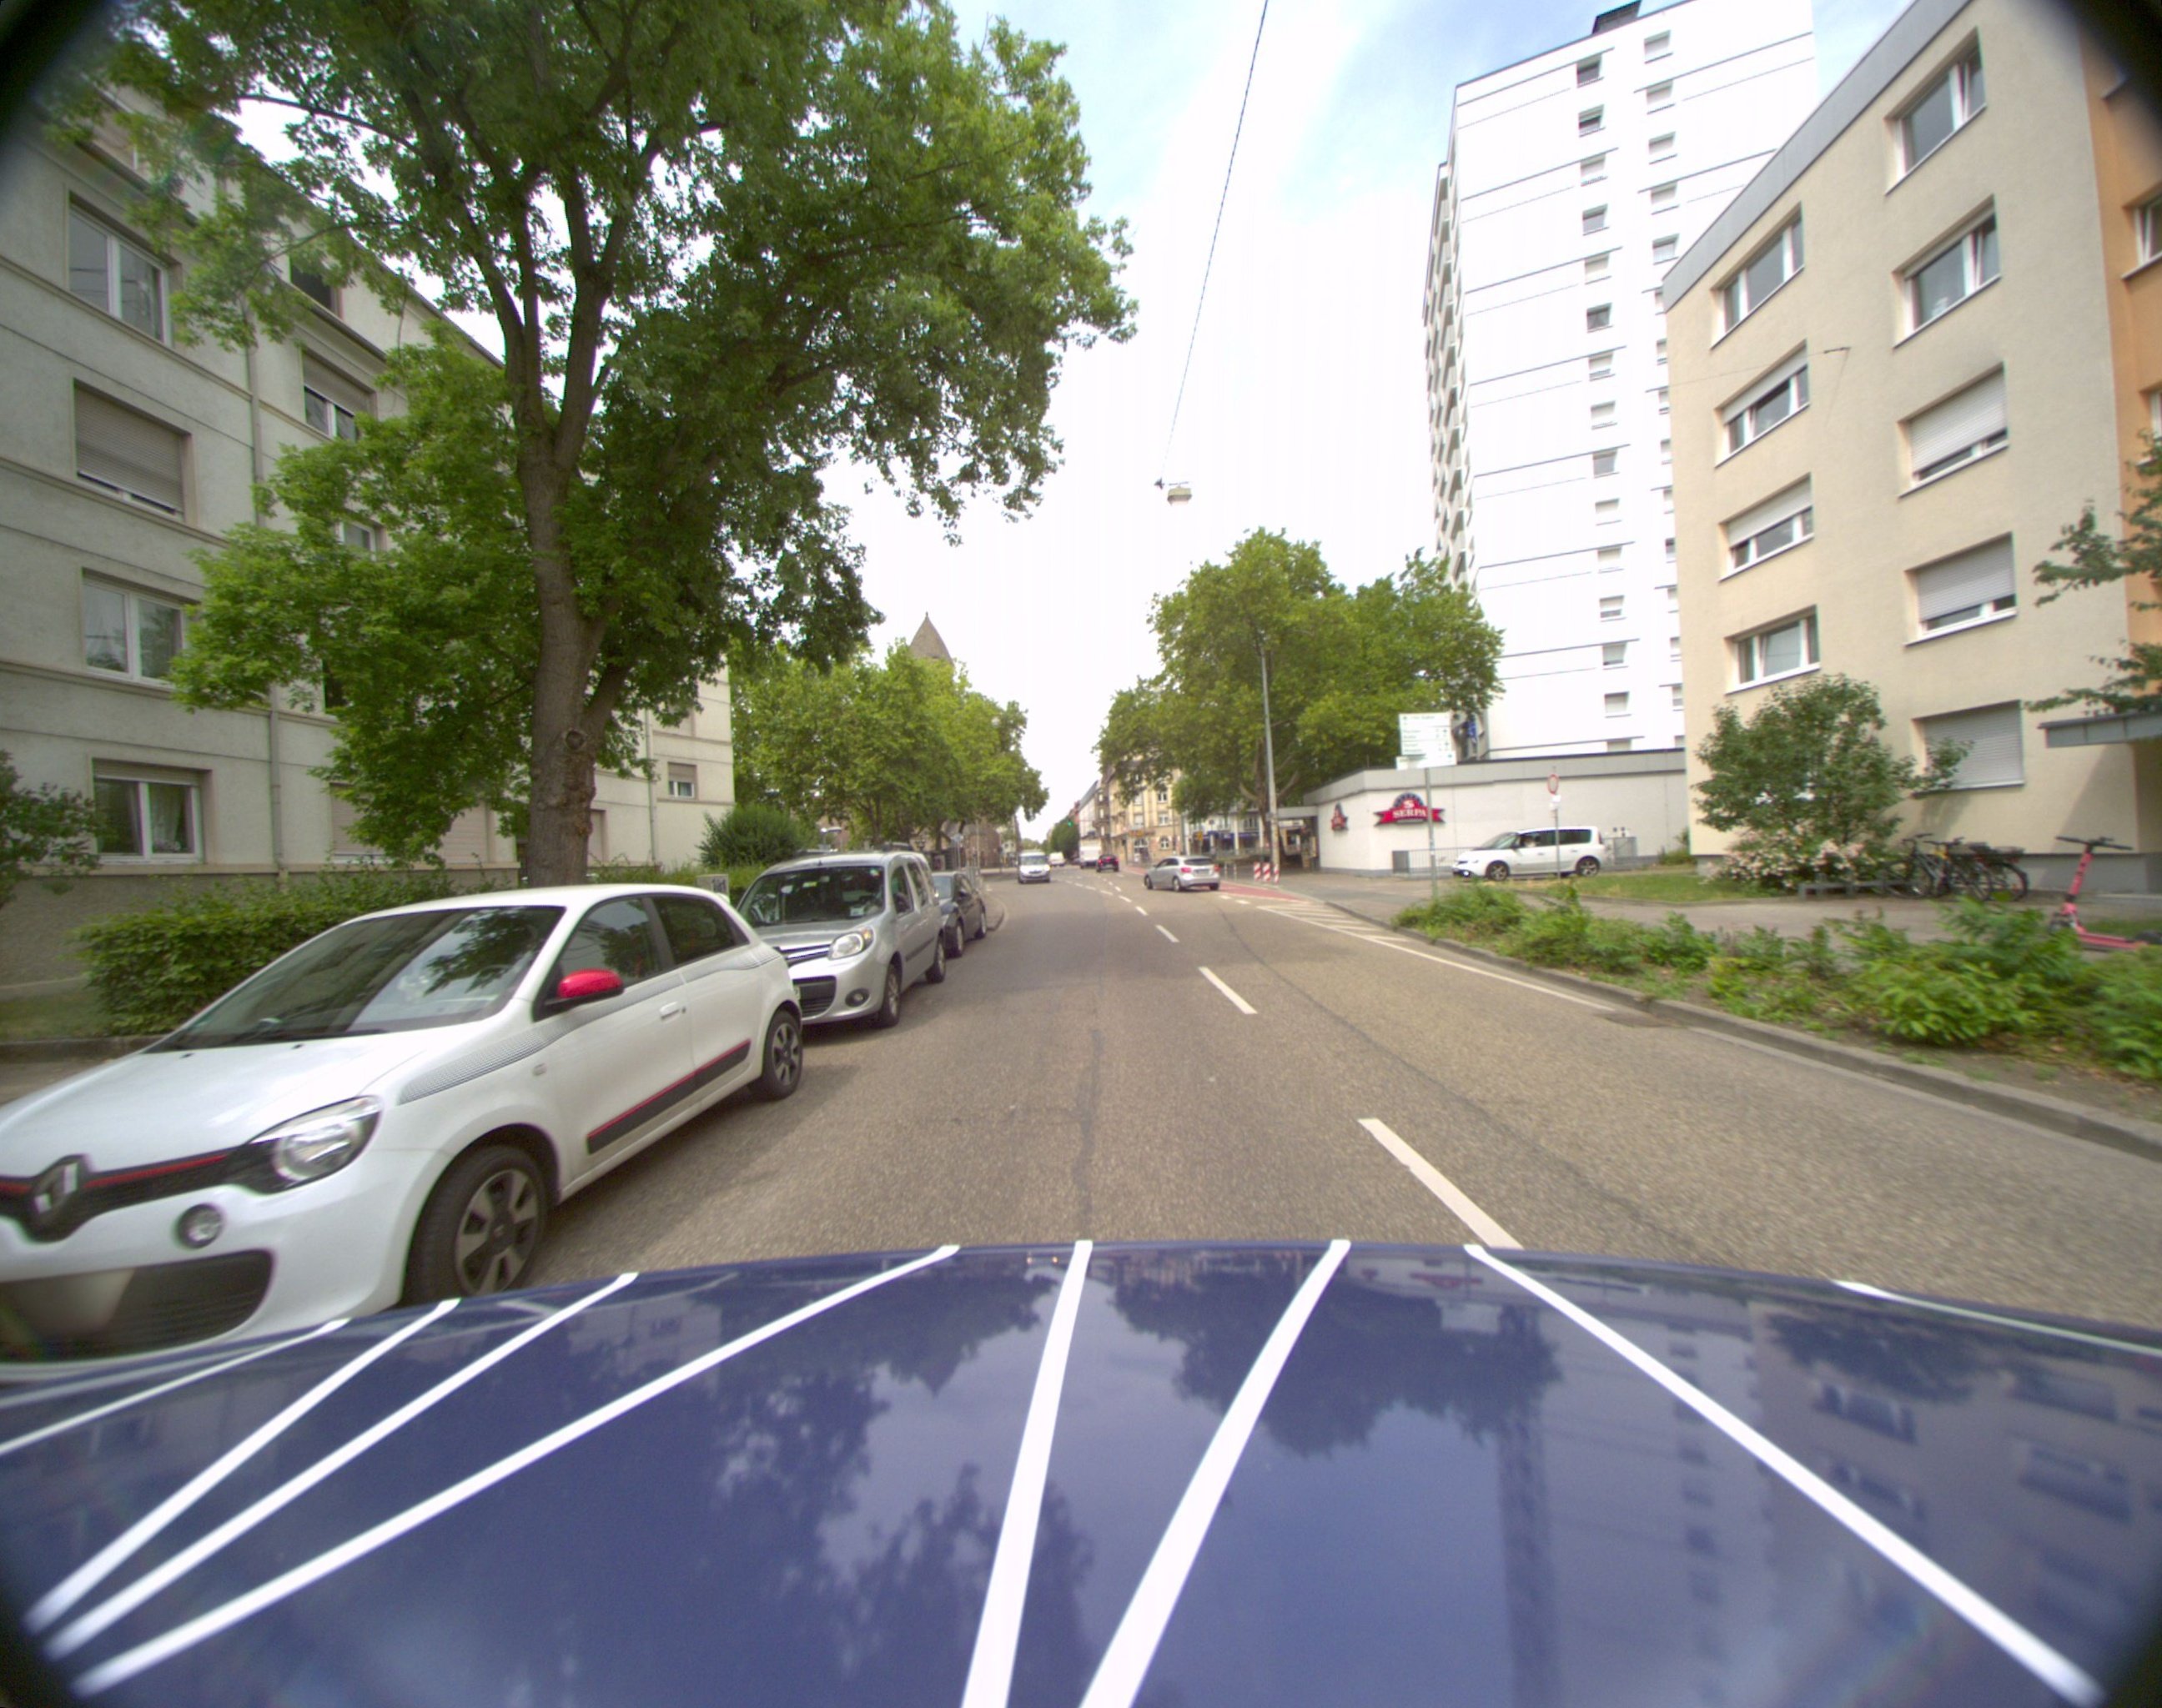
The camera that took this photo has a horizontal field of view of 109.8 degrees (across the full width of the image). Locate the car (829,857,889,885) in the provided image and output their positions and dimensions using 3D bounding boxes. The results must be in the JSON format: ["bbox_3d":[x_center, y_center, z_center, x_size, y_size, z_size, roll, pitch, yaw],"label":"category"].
[{"bbox_3d":[-15.410,1.139,52.978,1.935,1.696,4.335,-3,0,16],"label":"car"}]

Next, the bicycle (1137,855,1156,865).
[{"bbox_3d":[7.356,0.637,85.614,1.967,1.088,0.628,-1,0,19],"label":"bicycle"}]

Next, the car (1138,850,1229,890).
[{"bbox_3d":[4.108,0.638,31.126,1.851,1.442,4.178,-2,0,-21],"label":"car"}]

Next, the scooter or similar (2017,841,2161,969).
[{"bbox_3d":[10.567,0.478,7.827,0.402,1.186,1.291,-4,1,12],"label":"scooter or similar"}]

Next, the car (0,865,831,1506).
[{"bbox_3d":[-2.857,0.958,3.955,1.608,1.598,3.805,-5,0,2],"label":"car"}]

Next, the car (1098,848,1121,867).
[{"bbox_3d":[2.434,0.320,65.599,1.701,1.509,4.000,-2,0,0],"label":"car"}]

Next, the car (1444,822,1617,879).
[{"bbox_3d":[15.018,-0.103,25.598,4.640,1.676,1.850,-2,0,7],"label":"car"}]

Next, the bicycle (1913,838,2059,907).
[{"bbox_3d":[14.696,0.266,12.410,0.412,1.032,1.805,-3,1,8],"label":"bicycle"}]

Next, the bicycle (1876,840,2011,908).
[{"bbox_3d":[14.123,0.292,12.516,0.412,1.032,1.806,-3,1,10],"label":"bicycle"}]

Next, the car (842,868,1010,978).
[{"bbox_3d":[-2.554,1.094,13.676,1.922,1.436,4.239,-4,0,2],"label":"car"}]

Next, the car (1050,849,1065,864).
[{"bbox_3d":[-3.339,0.402,107.211,1.929,1.925,4.946,-4,0,-4],"label":"car"}]

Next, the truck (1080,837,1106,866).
[{"bbox_3d":[1.256,-0.288,85.643,2.548,3.089,7.018,-1,0,-2],"label":"truck"}]

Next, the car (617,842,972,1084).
[{"bbox_3d":[-2.703,0.884,8.651,1.922,1.854,4.846,-4,0,2],"label":"car"}]

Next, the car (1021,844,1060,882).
[{"bbox_3d":[-2.379,0.544,45.030,2.082,2.039,4.679,-3,0,-2],"label":"car"}]

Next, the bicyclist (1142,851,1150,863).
[{"bbox_3d":[7.308,0.330,85.692,0.751,1.334,0.492,-3,0,19],"label":"bicyclist"}]
